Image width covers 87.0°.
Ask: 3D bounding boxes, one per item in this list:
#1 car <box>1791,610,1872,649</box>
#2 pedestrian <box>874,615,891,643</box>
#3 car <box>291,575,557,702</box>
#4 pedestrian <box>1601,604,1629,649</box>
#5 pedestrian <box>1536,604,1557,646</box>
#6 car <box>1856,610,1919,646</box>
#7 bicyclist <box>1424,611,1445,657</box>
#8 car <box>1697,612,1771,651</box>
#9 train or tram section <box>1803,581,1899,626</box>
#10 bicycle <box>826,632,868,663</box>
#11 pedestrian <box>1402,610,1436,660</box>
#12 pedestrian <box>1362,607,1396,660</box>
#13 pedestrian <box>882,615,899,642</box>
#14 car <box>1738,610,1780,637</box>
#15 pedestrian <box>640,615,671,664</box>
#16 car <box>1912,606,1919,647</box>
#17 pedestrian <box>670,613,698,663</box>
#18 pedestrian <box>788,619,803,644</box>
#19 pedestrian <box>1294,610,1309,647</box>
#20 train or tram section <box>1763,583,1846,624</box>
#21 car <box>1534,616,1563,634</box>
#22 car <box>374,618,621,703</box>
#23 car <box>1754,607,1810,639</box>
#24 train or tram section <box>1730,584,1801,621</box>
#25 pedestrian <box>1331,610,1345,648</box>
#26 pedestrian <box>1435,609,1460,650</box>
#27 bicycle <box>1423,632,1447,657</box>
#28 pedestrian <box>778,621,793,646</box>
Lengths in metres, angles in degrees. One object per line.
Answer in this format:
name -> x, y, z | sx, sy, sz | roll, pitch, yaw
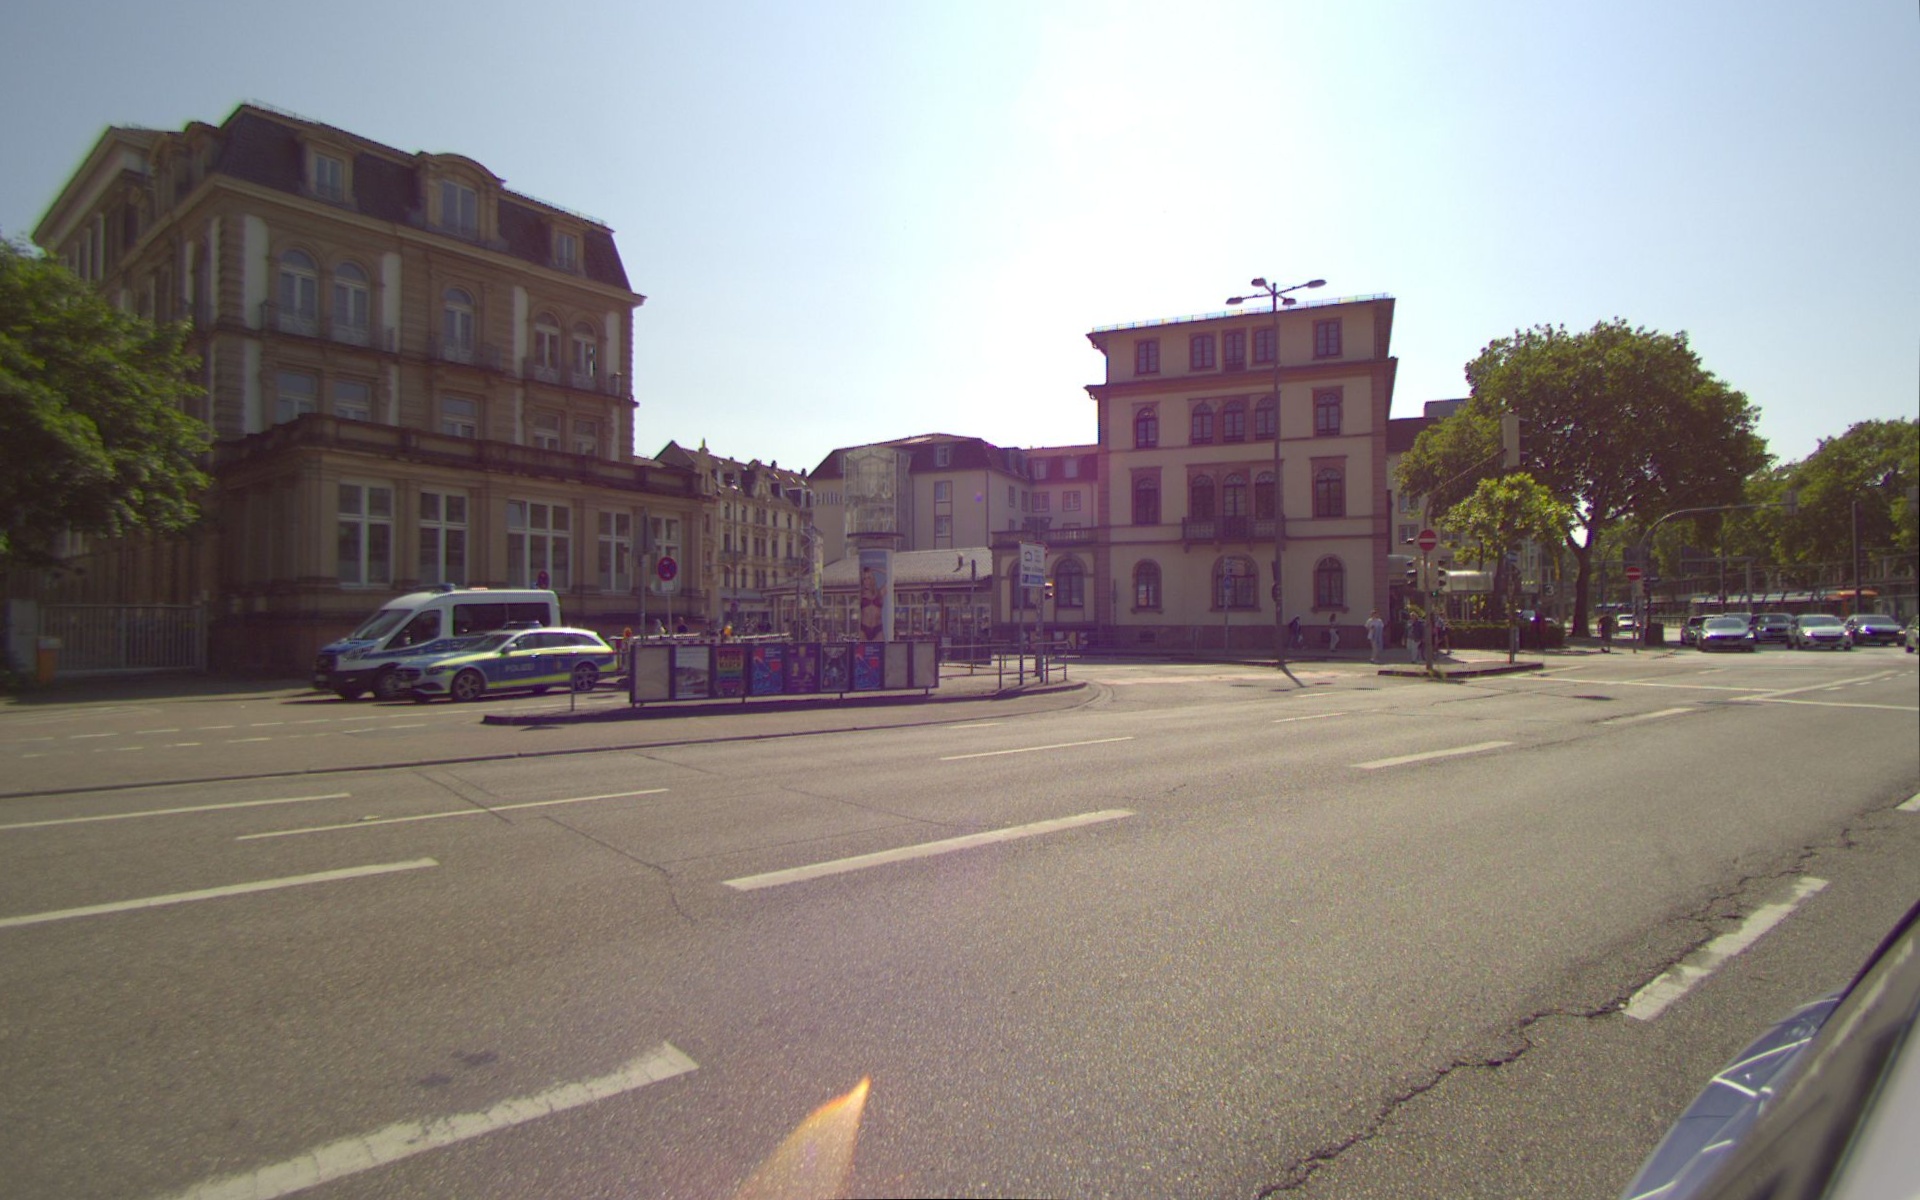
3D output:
car -> 36.092, 1.193, 42.004 | 1.776, 1.470, 3.933 | 1, 0, 29
pedestrian -> -4.544, 1.662, 59.043 | 0.707, 1.624, 0.723 | 1, -2, -42
car -> -12.361, 0.838, 23.752 | 1.984, 2.637, 5.256 | -2, -2, 32
pedestrian -> 27.178, 1.105, 42.002 | 0.715, 1.869, 0.592 | 0, -2, 0
pedestrian -> 25.566, 1.097, 44.110 | 0.719, 1.828, 0.646 | -1, -2, 29
car -> 42.797, 1.240, 46.629 | 1.781, 1.543, 3.923 | 1, 0, 35
bicyclist -> 17.215, 1.225, 36.693 | 0.589, 1.627, 0.676 | -1, -2, 31
car -> 32.254, 1.273, 42.270 | 1.775, 1.470, 3.936 | 1, 0, 27
train or tram section -> 69.980, 0.356, 79.690 | 2.702, 3.310, 8.674 | -1, -1, 21
bicycle -> -4.325, 1.781, 38.588 | 1.812, 1.113, 0.497 | 0, -1, 41
pedestrian -> 14.697, 1.112, 32.388 | 0.770, 1.592, 0.817 | -2, -2, 42
pedestrian -> 13.450, 1.061, 32.469 | 0.750, 1.681, 0.817 | -2, -2, 41
pedestrian -> -4.088, 1.670, 59.459 | 0.706, 1.624, 0.723 | 1, -2, -41
car -> 46.172, 1.323, 58.462 | 1.784, 1.470, 3.916 | 1, 0, 40
pedestrian -> -11.046, 1.429, 36.751 | 0.816, 1.763, 0.741 | -1, -2, 37
car -> 35.964, 0.975, 36.573 | 1.710, 1.519, 4.431 | 0, -1, 36
pedestrian -> -10.001, 1.376, 36.626 | 0.697, 1.774, 0.713 | -1, -2, 34
pedestrian -> -10.916, 2.069, 67.133 | 0.706, 1.624, 0.724 | 1, -2, -36
pedestrian -> 15.553, 1.292, 46.111 | 0.529, 1.670, 0.668 | -1, -2, 25
train or tram section -> 73.056, 0.344, 87.768 | 2.702, 3.310, 8.674 | -1, -1, 21
car -> 43.711, 1.858, 75.246 | 1.575, 1.339, 3.546 | -1, -1, 27
car -> -10.051, 1.233, 22.411 | 1.807, 1.647, 4.825 | -1, -1, 31
car -> 42.374, 1.147, 52.269 | 1.779, 1.550, 3.927 | 1, 0, 32
train or tram section -> 76.155, 0.332, 95.879 | 2.702, 3.310, 8.674 | -1, -1, 21
pedestrian -> 16.525, 1.274, 44.262 | 0.529, 1.670, 0.575 | -1, -2, 25
pedestrian -> 20.479, 1.224, 42.509 | 0.834, 1.717, 0.739 | -1, -2, 21
bicycle -> 17.208, 1.600, 36.665 | 0.589, 0.866, 1.725 | -1, -1, 31
pedestrian -> -11.383, 2.164, 66.088 | 0.705, 1.624, 0.724 | 1, -2, -35
